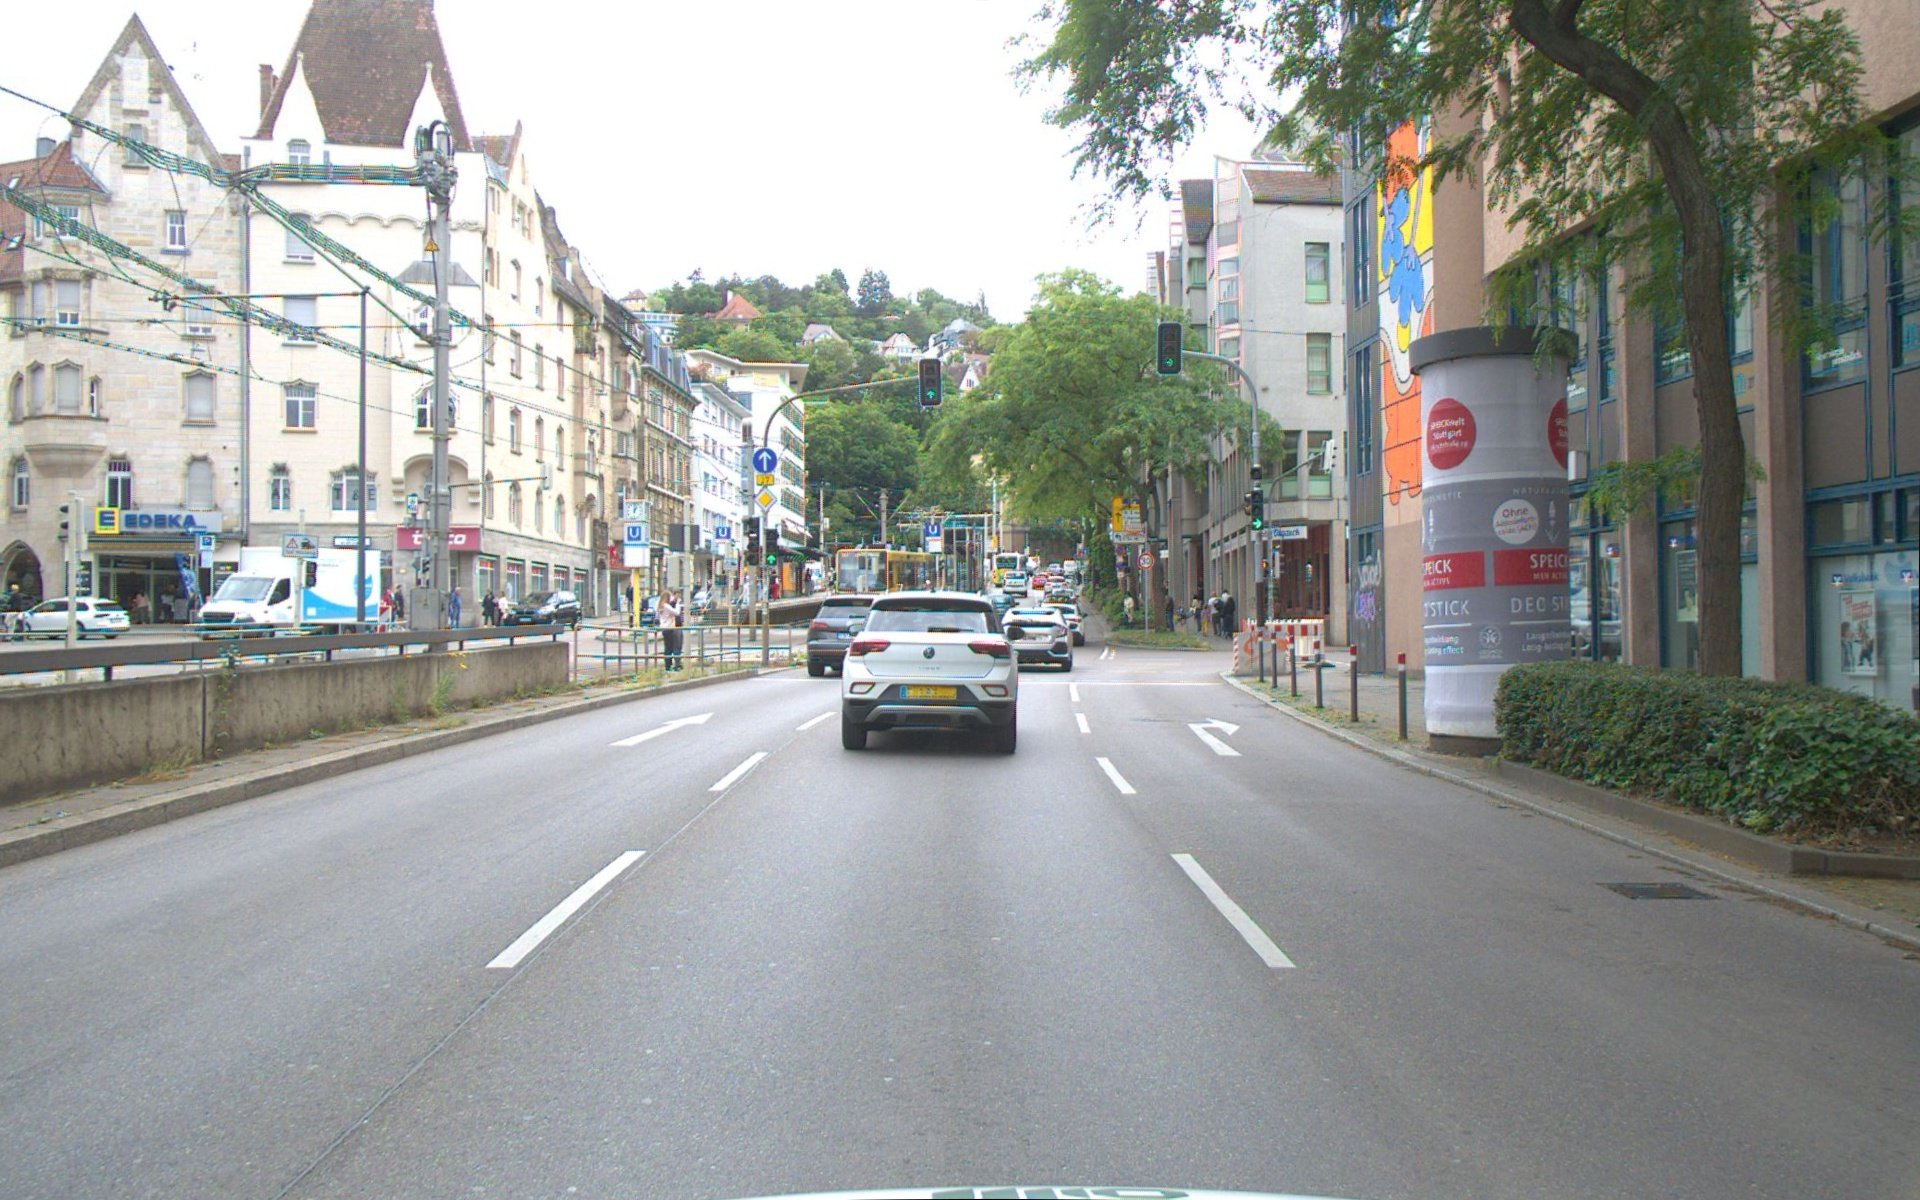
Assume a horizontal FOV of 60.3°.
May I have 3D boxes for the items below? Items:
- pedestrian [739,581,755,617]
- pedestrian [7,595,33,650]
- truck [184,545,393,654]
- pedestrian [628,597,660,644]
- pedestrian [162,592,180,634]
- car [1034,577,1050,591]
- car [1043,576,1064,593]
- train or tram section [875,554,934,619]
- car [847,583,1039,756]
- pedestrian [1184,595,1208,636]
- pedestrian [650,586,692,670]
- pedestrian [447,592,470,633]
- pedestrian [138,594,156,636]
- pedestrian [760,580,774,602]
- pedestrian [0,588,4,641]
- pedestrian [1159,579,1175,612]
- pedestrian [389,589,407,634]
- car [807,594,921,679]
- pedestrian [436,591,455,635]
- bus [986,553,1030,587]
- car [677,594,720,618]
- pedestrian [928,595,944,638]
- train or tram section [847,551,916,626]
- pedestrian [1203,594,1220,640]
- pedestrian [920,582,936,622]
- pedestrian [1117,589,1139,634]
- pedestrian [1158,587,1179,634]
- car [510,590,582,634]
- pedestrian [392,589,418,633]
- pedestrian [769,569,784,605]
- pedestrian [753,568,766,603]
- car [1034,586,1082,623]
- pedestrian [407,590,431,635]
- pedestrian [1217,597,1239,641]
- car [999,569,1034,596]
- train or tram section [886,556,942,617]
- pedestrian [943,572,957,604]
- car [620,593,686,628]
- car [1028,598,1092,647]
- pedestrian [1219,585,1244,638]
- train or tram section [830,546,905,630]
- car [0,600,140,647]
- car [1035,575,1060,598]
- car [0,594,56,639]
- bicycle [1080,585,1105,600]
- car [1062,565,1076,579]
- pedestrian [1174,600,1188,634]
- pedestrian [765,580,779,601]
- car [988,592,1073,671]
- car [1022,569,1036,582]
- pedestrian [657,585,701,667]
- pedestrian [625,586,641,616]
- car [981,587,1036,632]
[{"bbox_3d":[-10.293,-0.045,79.996,0.673,1.741,0.662,0,0,2],"label":"pedestrian"},{"bbox_3d":[-31.401,0.745,55.235,0.499,1.811,0.577,0,0,15],"label":"pedestrian"},{"bbox_3d":[-20.862,0.011,51.935,2.218,3.130,7.380,1,0,13],"label":"truck"},{"bbox_3d":[-11.764,0.753,61.602,0.859,1.735,0.810,0,0,32],"label":"pedestrian"},{"bbox_3d":[-34.324,0.546,71.951,0.564,1.811,0.510,0,0,-11],"label":"pedestrian"},{"bbox_3d":[7.820,-1.526,157.638,1.549,1.193,3.680,1,0,3],"label":"car"},{"bbox_3d":[9.998,-1.692,176.650,1.844,1.713,4.164,1,0,10],"label":"car"},{"bbox_3d":[-3.126,-0.779,94.742,2.775,3.582,5.755,1,1,4],"label":"train or tram section"},{"bbox_3d":[-0.271,0.668,17.722,1.801,1.611,4.154,1,0,-3],"label":"car"},{"bbox_3d":[9.307,0.603,65.333,0.818,1.590,0.764,1,-1,-1],"label":"pedestrian"},{"bbox_3d":[-6.061,0.578,34.679,0.748,1.751,0.638,0,0,3],"label":"pedestrian"},{"bbox_3d":[-21.057,0.520,69.463,0.659,1.706,0.691,0,0,21],"label":"pedestrian"},{"bbox_3d":[-35.245,0.648,71.726,0.502,1.811,0.573,0,0,43],"label":"pedestrian"},{"bbox_3d":[-10.177,-0.475,87.047,0.622,1.127,0.690,0,1,3],"label":"pedestrian"},{"bbox_3d":[-32.825,0.487,56.043,0.564,1.811,0.510,0,0,29],"label":"pedestrian"},{"bbox_3d":[11.599,-0.258,92.679,0.746,1.813,0.848,-2,2,-2],"label":"pedestrian"},{"bbox_3d":[-23.132,0.471,68.102,0.499,1.811,0.577,0,0,5],"label":"pedestrian"},{"bbox_3d":[-1.935,0.706,34.495,1.952,1.664,4.001,0,0,2],"label":"car"},{"bbox_3d":[-21.033,0.524,67.675,0.499,1.811,0.577,0,0,17],"label":"pedestrian"},{"bbox_3d":[4.931,-2.973,167.095,3.300,3.118,13.334,1,0,7],"label":"bus"},{"bbox_3d":[-16.049,0.351,101.694,1.597,1.399,3.786,-2,0,7],"label":"car"},{"bbox_3d":[-0.978,0.690,67.945,0.622,1.741,0.872,0,1,3],"label":"pedestrian"},{"bbox_3d":[-3.900,-0.597,83.224,2.775,3.582,5.755,1,1,4],"label":"train or tram section"},{"bbox_3d":[9.928,0.663,65.214,0.508,1.820,0.764,1,-1,-1],"label":"pedestrian"},{"bbox_3d":[-1.396,0.081,72.602,0.671,1.741,0.712,0,0,3],"label":"pedestrian"},{"bbox_3d":[6.978,0.472,68.735,0.679,1.808,0.689,-4,0,-1],"label":"pedestrian"},{"bbox_3d":[8.488,0.422,67.395,0.706,1.834,0.834,-2,2,-1],"label":"pedestrian"},{"bbox_3d":[-17.852,0.518,71.550,1.638,1.790,4.784,1,0,3],"label":"car"},{"bbox_3d":[-23.108,0.469,68.859,0.774,1.811,0.665,0,0,34],"label":"pedestrian"},{"bbox_3d":[-9.370,-0.660,84.319,0.613,1.793,0.847,0,0,4],"label":"pedestrian"},{"bbox_3d":[-10.186,-0.735,83.862,0.623,1.741,0.689,0,0,-6],"label":"pedestrian"},{"bbox_3d":[5.675,0.270,96.105,2.317,2.049,5.146,1,0,-2],"label":"car"},{"bbox_3d":[-21.976,0.487,67.159,0.694,1.811,0.596,0,0,19],"label":"pedestrian"},{"bbox_3d":[10.291,0.729,63.485,0.746,1.640,0.619,-1,2,15],"label":"pedestrian"},{"bbox_3d":[4.472,-1.376,130.761,2.314,2.049,5.151,1,0,6],"label":"car"},{"bbox_3d":[-2.749,-0.844,100.493,2.775,3.582,5.755,1,1,4],"label":"train or tram section"},{"bbox_3d":[-0.550,-0.673,94.018,0.702,1.761,0.671,1,-1,4],"label":"pedestrian"},{"bbox_3d":[-14.043,0.455,75.900,1.621,1.579,4.539,0,0,8],"label":"car"},{"bbox_3d":[3.635,0.794,60.521,1.847,1.713,4.158,1,0,-3],"label":"car"},{"bbox_3d":[10.798,0.455,65.763,0.818,2.049,0.764,1,-1,-1],"label":"pedestrian"},{"bbox_3d":[-4.269,-0.557,77.466,2.775,3.743,5.755,1,1,4],"label":"train or tram section"},{"bbox_3d":[-32.529,0.843,60.397,4.403,1.588,1.756,1,0,8],"label":"car"},{"bbox_3d":[6.840,-1.038,128.536,1.845,1.713,4.163,1,0,4],"label":"car"},{"bbox_3d":[-37.676,0.688,65.011,3.691,1.713,1.638,-2,0,18],"label":"car"},{"bbox_3d":[10.281,-0.568,128.035,1.841,1.157,0.809,1,-1,9],"label":"bicycle"},{"bbox_3d":[12.781,-3.304,193.920,1.638,1.588,3.680,1,0,3],"label":"car"},{"bbox_3d":[8.867,0.695,66.456,0.461,1.357,0.519,1,-1,-1],"label":"pedestrian"},{"bbox_3d":[-10.052,-0.503,88.362,0.622,1.127,0.690,0,1,3],"label":"pedestrian"},{"bbox_3d":[1.686,0.707,38.462,1.845,1.713,4.163,1,0,4],"label":"car"},{"bbox_3d":[8.421,-2.986,202.541,1.638,1.588,3.988,1,0,3],"label":"car"},{"bbox_3d":[-6.019,0.551,35.438,0.775,1.751,0.773,0,0,3],"label":"pedestrian"},{"bbox_3d":[-19.691,0.083,99.531,0.623,1.793,0.835,0,0,-39],"label":"pedestrian"},{"bbox_3d":[2.372,0.448,79.047,2.315,2.049,5.151,1,0,5],"label":"car"}]
